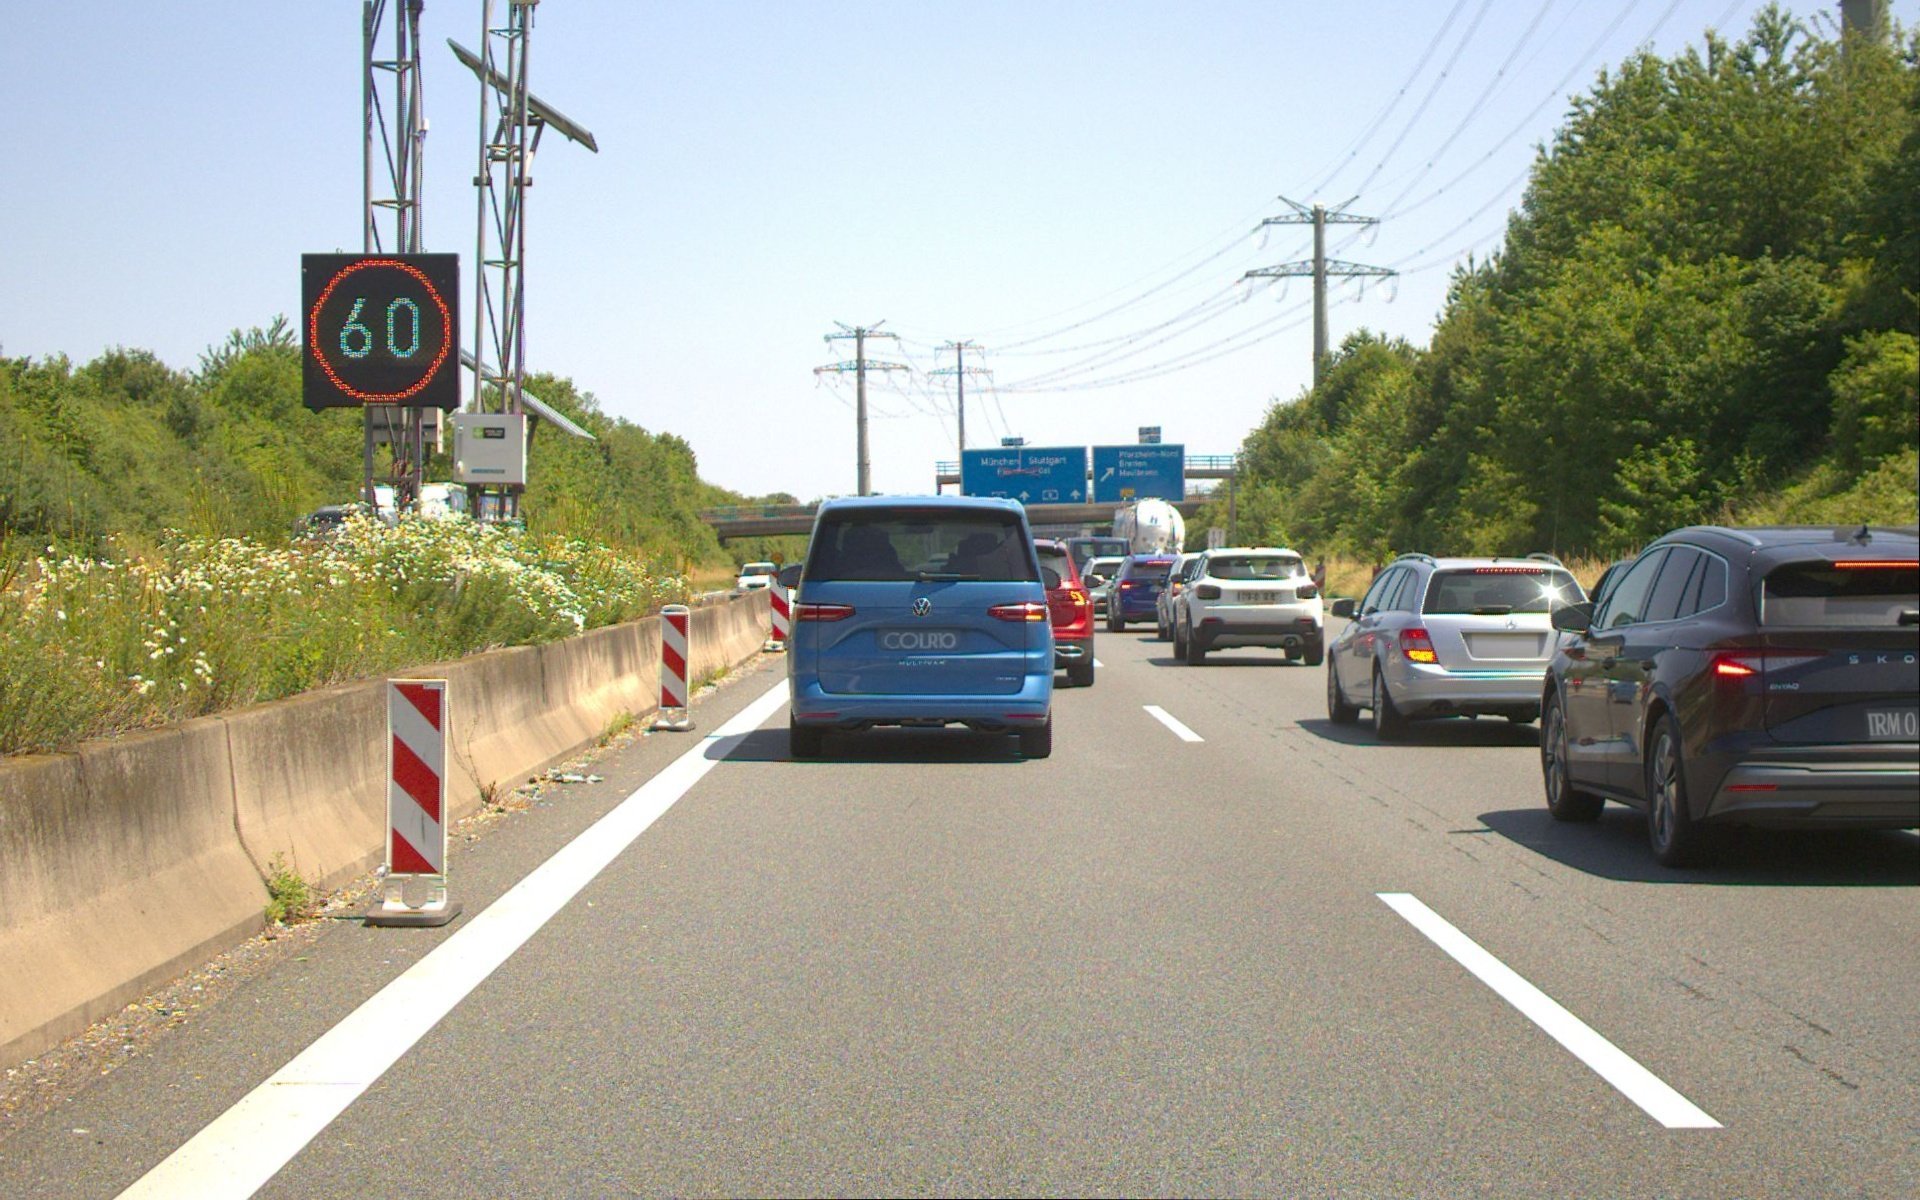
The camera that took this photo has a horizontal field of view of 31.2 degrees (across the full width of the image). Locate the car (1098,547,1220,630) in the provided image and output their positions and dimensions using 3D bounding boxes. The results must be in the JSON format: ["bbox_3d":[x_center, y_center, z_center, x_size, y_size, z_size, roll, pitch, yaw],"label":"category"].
[{"bbox_3d":[3.755,-0.242,65.516,1.908,1.511,4.384,1,1,-2],"label":"car"}]

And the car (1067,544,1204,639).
[{"bbox_3d":[2.931,-0.175,58.303,1.908,1.511,4.384,1,1,-2],"label":"car"}]

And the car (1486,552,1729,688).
[{"bbox_3d":[7.011,0.172,37.636,1.734,1.373,4.303,1,1,-1],"label":"car"}]

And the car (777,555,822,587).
[{"bbox_3d":[-8.019,-1.456,172.024,1.993,1.540,4.912,-1,1,0],"label":"car"}]

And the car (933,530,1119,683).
[{"bbox_3d":[0.688,0.036,38.769,1.908,1.625,4.384,0,1,-1],"label":"car"}]

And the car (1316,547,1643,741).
[{"bbox_3d":[4.122,0.297,27.960,1.821,1.432,4.384,1,1,-2],"label":"car"}]

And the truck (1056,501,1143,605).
[{"bbox_3d":[3.770,-1.293,93.849,1.993,2.714,5.680,1,1,-1],"label":"truck"}]

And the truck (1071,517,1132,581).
[{"bbox_3d":[8.084,-2.933,197.232,2.644,3.526,12.553,1,1,-1],"label":"truck"}]

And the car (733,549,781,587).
[{"bbox_3d":[-7.830,-1.241,132.641,1.584,1.438,4.000,1,1,0],"label":"car"}]

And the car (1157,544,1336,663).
[{"bbox_3d":[3.785,0.015,46.050,1.908,1.503,3.922,1,1,-2],"label":"car"}]

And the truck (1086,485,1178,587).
[{"bbox_3d":[7.182,-2.683,145.394,2.644,4.058,16.442,1,1,-1],"label":"truck"}]

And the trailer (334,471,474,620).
[{"bbox_3d":[-15.850,-1.552,98.365,2.961,4.043,5.434,-2,1,0],"label":"trailer"}]

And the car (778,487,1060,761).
[{"bbox_3d":[-0.397,0.136,25.969,1.870,1.872,4.384,1,1,-4],"label":"car"}]

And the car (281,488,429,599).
[{"bbox_3d":[-11.977,-1.118,68.385,1.993,2.084,5.229,-1,1,0],"label":"car"}]

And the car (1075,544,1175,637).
[{"bbox_3d":[3.687,-0.231,77.344,1.993,2.007,4.000,1,1,-1],"label":"car"}]

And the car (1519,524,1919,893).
[{"bbox_3d":[4.129,0.433,17.272,1.828,1.609,4.431,0,1,-1],"label":"car"}]
